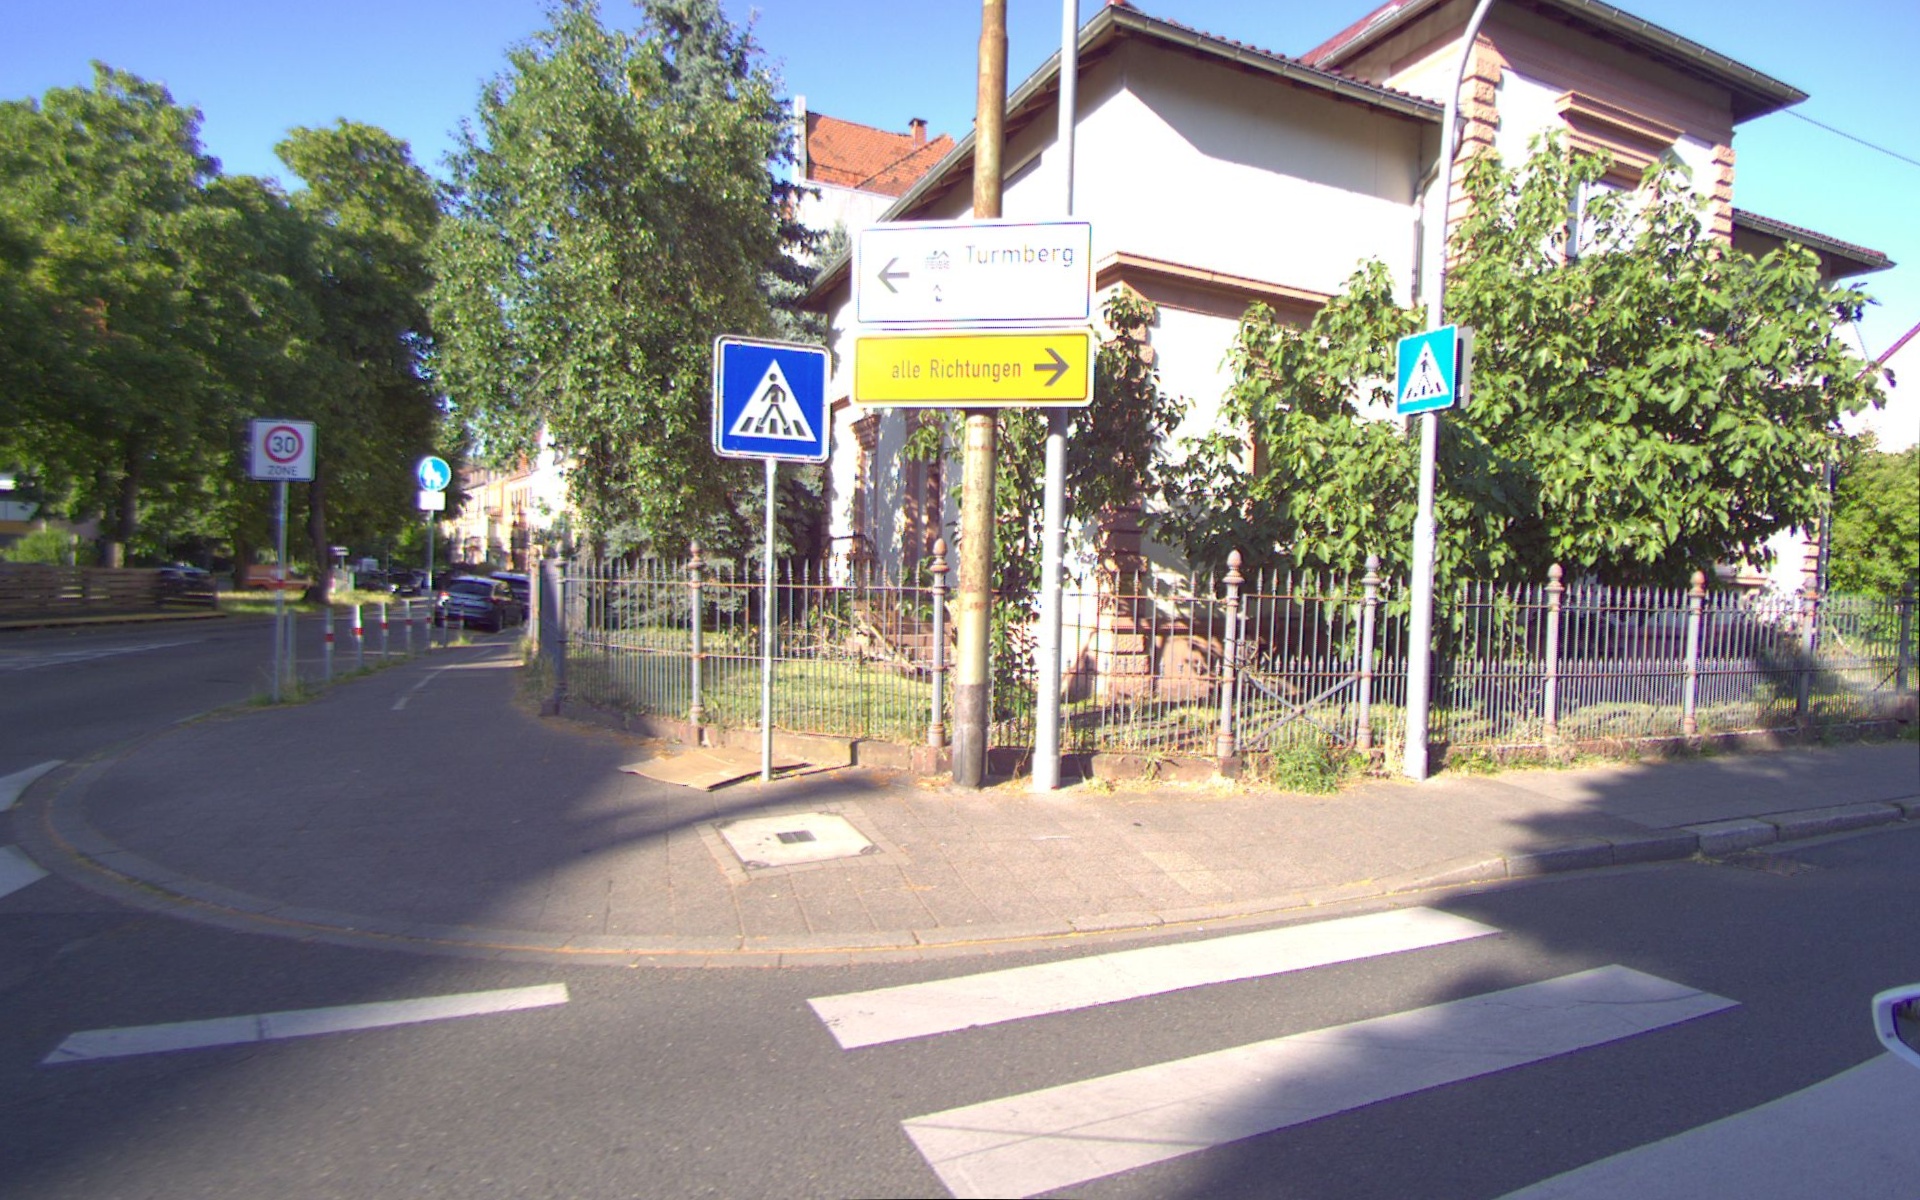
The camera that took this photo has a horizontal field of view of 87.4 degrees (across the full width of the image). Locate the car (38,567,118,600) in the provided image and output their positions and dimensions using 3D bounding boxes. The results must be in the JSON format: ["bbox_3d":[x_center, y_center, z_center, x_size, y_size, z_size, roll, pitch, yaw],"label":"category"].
[{"bbox_3d":[-40.345,-0.783,46.043,1.574,1.410,3.561,1,1,-21],"label":"car"}]

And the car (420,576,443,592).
[{"bbox_3d":[-50.269,-1.544,95.561,1.819,1.387,3.967,1,1,-30],"label":"car"}]

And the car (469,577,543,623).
[{"bbox_3d":[-15.144,-0.043,33.669,1.812,1.387,3.983,1,1,-18],"label":"car"}]

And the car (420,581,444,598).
[{"bbox_3d":[-47.852,-0.968,91.046,1.819,1.387,3.967,1,1,-30],"label":"car"}]

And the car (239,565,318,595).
[{"bbox_3d":[-45.233,-1.325,66.699,3.922,1.804,1.840,2,1,-1],"label":"car"}]

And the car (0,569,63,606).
[{"bbox_3d":[-38.896,-0.536,41.475,1.574,1.410,3.561,1,1,-21],"label":"car"}]

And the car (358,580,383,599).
[{"bbox_3d":[-49.583,-0.905,84.490,1.742,1.452,3.640,1,1,-31],"label":"car"}]

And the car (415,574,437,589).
[{"bbox_3d":[-53.124,-1.840,99.911,1.819,1.387,3.967,1,1,-30],"label":"car"}]

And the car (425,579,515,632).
[{"bbox_3d":[-14.128,0.112,29.165,1.812,1.387,3.983,1,1,-18],"label":"car"}]

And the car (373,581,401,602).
[{"bbox_3d":[-43.500,-0.646,76.262,1.742,1.452,3.640,1,1,-31],"label":"car"}]

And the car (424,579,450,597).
[{"bbox_3d":[-44.936,-1.034,86.216,1.819,1.387,3.967,1,1,-30],"label":"car"}]

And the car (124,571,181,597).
[{"bbox_3d":[-47.173,-0.945,58.736,1.574,1.410,3.561,1,1,-21],"label":"car"}]

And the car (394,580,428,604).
[{"bbox_3d":[-35.177,-0.528,64.320,1.819,1.387,3.967,1,1,-30],"label":"car"}]
